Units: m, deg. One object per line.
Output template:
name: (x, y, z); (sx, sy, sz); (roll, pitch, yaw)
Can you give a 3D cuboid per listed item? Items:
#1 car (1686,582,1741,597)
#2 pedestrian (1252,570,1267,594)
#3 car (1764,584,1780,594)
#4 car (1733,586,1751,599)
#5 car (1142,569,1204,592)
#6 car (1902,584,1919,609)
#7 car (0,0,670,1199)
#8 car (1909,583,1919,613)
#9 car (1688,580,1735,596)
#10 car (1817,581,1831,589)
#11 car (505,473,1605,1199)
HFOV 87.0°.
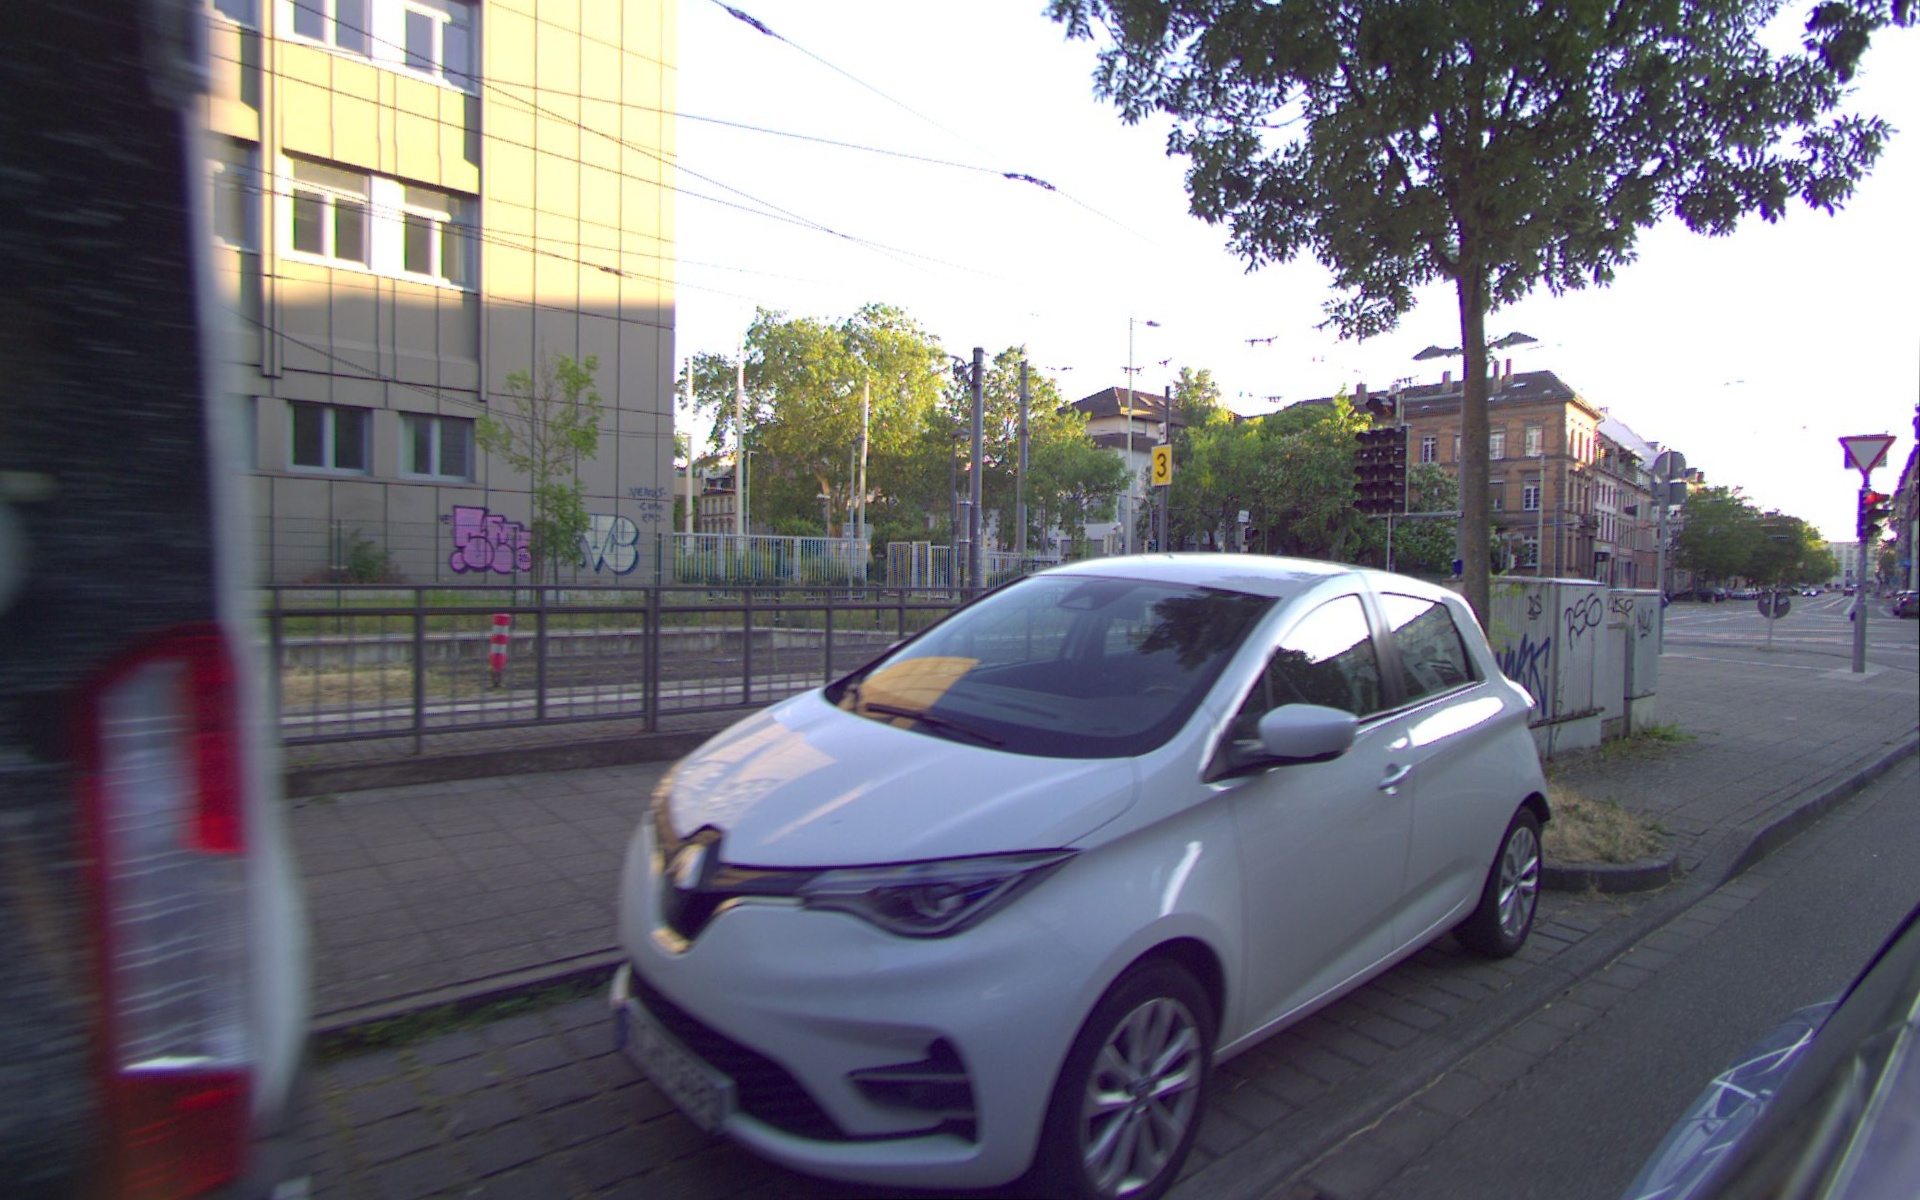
car: (80.443, -1.104, 108.037); (4.682, 1.504, 1.880); (2, 2, 39)
pedestrian: (19.482, -1.180, 65.855); (0.802, 1.545, 0.580); (0, 1, -36)
car: (127.009, -1.691, 158.302); (1.778, 1.453, 4.237); (2, 2, 38)
car: (96.730, -0.961, 125.171); (1.778, 1.475, 4.237); (2, 2, 38)
car: (16.216, -1.489, 77.171); (1.966, 1.652, 4.225); (0, 2, -42)
car: (58.233, -0.194, 61.149); (1.782, 1.475, 4.228); (2, 2, 44)
car: (-3.018, 0.022, 0.152); (5.340, 2.688, 2.055); (0, 5, -42)
car: (50.472, -0.100, 52.229); (4.227, 1.475, 2.003); (0, 2, -45)
car: (75.349, -1.167, 101.473); (3.756, 1.504, 1.881); (2, 2, 39)
car: (156.870, -2.762, 183.705); (1.780, 1.475, 4.233); (2, 2, 41)
car: (0.705, 0.504, 3.688); (3.945, 1.602, 1.751); (0, 5, -43)
